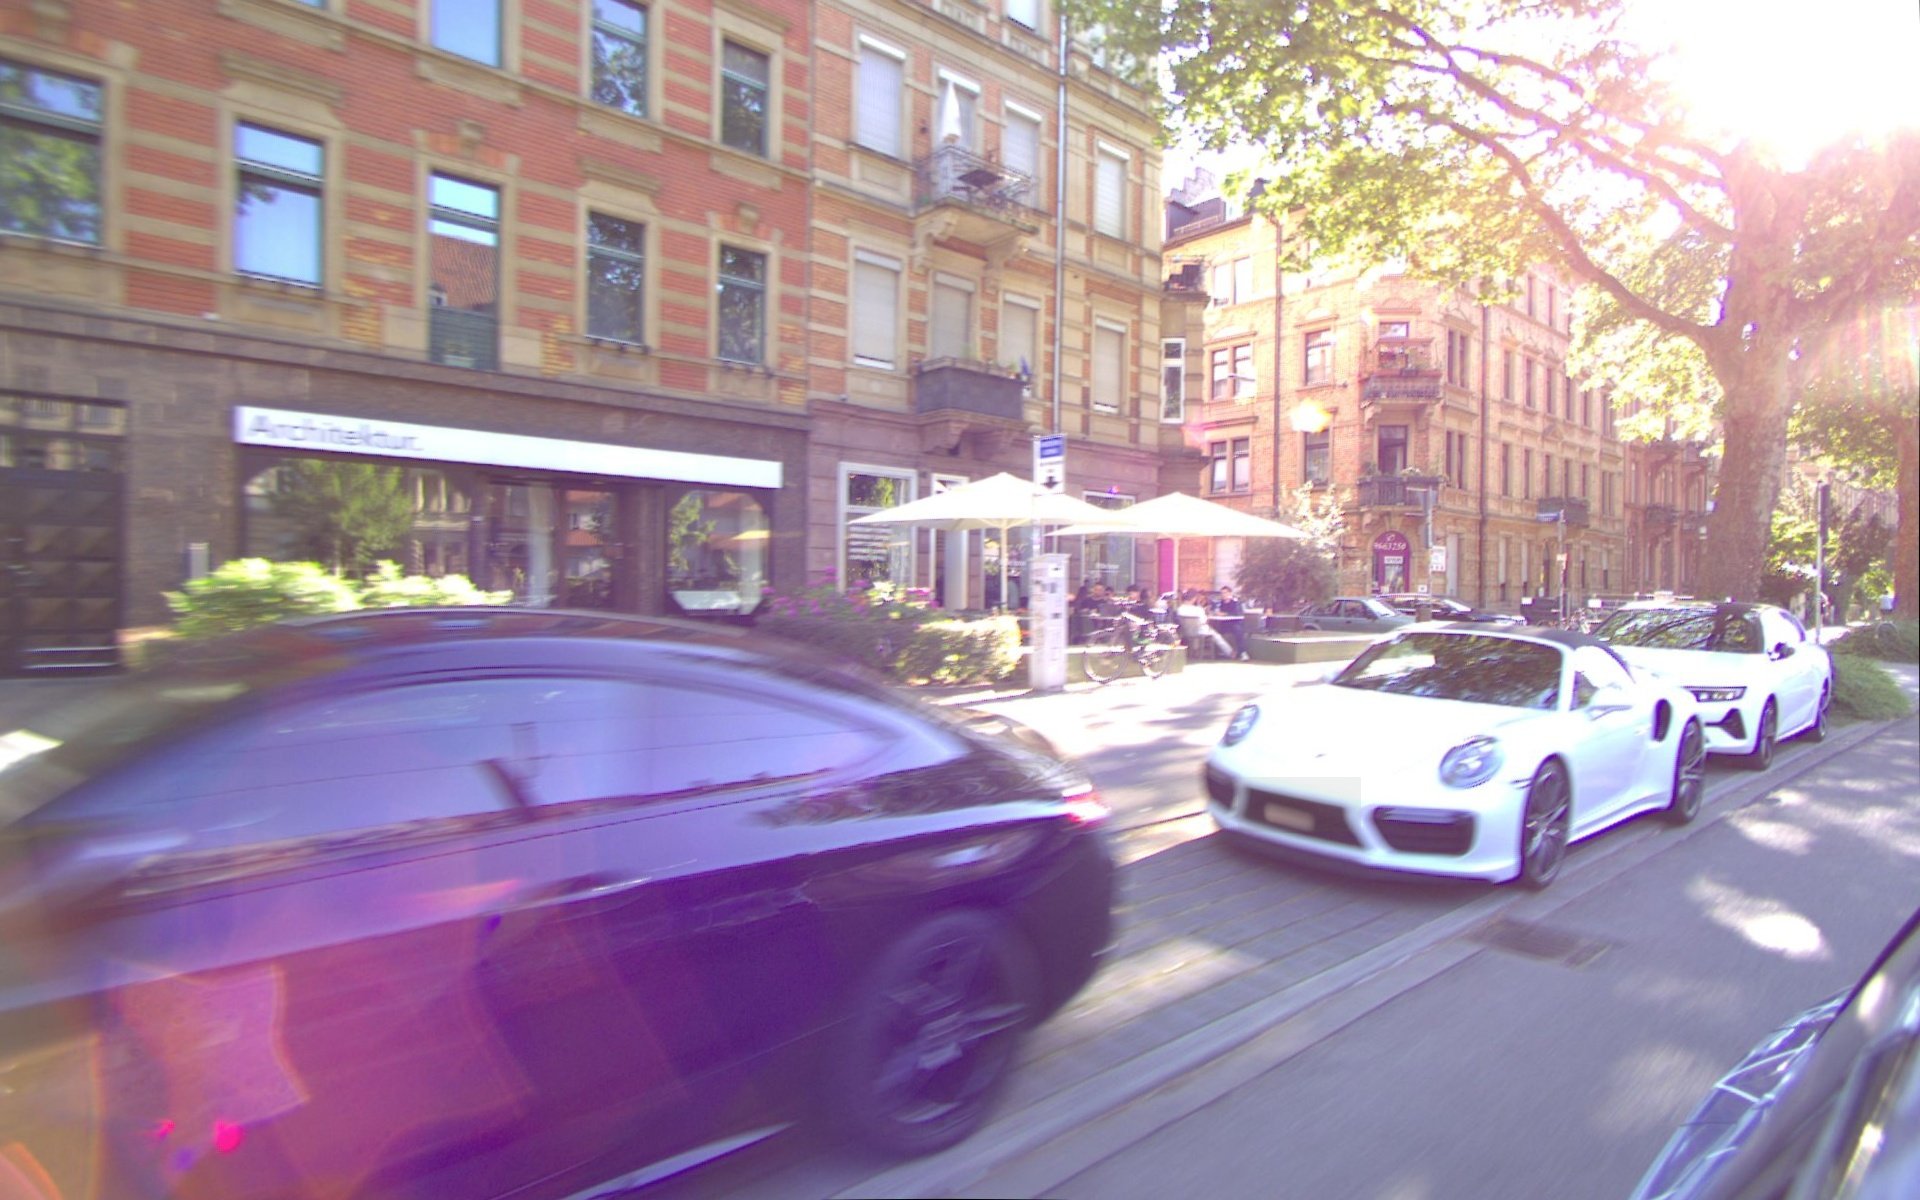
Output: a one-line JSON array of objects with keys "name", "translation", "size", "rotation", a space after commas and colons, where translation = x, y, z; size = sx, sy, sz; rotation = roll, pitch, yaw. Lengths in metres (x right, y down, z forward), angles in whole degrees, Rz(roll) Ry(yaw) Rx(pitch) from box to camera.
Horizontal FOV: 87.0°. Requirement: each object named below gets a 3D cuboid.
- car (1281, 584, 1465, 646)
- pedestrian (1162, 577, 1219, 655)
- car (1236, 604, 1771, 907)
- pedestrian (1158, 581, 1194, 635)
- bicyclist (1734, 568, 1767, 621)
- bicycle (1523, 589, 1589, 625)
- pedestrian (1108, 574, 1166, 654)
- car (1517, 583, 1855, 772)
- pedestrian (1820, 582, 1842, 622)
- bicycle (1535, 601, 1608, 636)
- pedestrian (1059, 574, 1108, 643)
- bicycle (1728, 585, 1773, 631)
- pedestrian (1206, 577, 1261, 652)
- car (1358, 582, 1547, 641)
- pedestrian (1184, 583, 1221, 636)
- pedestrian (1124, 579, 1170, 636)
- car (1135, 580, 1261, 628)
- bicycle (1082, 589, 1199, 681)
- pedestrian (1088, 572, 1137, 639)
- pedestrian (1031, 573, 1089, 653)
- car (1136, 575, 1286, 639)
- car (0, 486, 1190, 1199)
[{"name": "car", "translation": [10.483, 0.350, 25.894], "size": [1.713, 1.382, 3.992], "rotation": [2, 0, -43]}, {"name": "pedestrian", "translation": [3.999, 0.267, 17.549], "size": [0.651, 1.316, 0.714], "rotation": [0, 1, -41]}, {"name": "car", "translation": [3.747, 0.732, 6.689], "size": [3.930, 1.343, 1.833], "rotation": [0, 1, -41]}, {"name": "pedestrian", "translation": [4.728, 0.167, 22.133], "size": [0.517, 1.152, 0.557], "rotation": [0, 1, -41]}, {"name": "bicyclist", "translation": [21.243, -0.141, 27.205], "size": [0.633, 1.398, 0.543], "rotation": [2, -4, -42]}, {"name": "bicycle", "translation": [19.873, 0.214, 33.774], "size": [0.467, 1.168, 1.868], "rotation": [0, 1, -36]}, {"name": "pedestrian", "translation": [3.025, 0.225, 17.284], "size": [0.651, 1.316, 0.714], "rotation": [0, 1, -40]}, {"name": "car", "translation": [7.476, 0.593, 10.227], "size": [4.566, 1.496, 1.805], "rotation": [0, 1, -41]}, {"name": "pedestrian", "translation": [36.626, 0.071, 42.556], "size": [0.606, 1.648, 0.531], "rotation": [2, 1, -40]}, {"name": "bicycle", "translation": [17.192, 0.513, 28.456], "size": [1.687, 0.928, 0.594], "rotation": [1, 1, 39]}, {"name": "pedestrian", "translation": [2.421, 0.160, 19.863], "size": [0.702, 1.316, 0.662], "rotation": [0, 1, -41]}, {"name": "bicycle", "translation": [21.241, 0.204, 27.184], "size": [2.188, 1.193, 0.561], "rotation": [0, -3, -42]}, {"name": "pedestrian", "translation": [4.960, 0.253, 18.341], "size": [0.651, 1.316, 0.714], "rotation": [0, 1, -41]}, {"name": "car", "translation": [14.226, 0.265, 29.409], "size": [1.891, 1.567, 4.604], "rotation": [0, 1, -45]}, {"name": "pedestrian", "translation": [5.185, 0.198, 21.636], "size": [0.517, 1.116, 0.557], "rotation": [0, 1, -41]}, {"name": "pedestrian", "translation": [3.967, 0.149, 21.498], "size": [0.651, 1.186, 0.714], "rotation": [0, 1, -41]}, {"name": "car", "translation": [8.424, 0.101, 36.078], "size": [1.715, 1.567, 4.121], "rotation": [0, 1, -44]}, {"name": "bicycle", "translation": [2.485, 0.444, 13.809], "size": [1.863, 1.157, 0.476], "rotation": [0, 3, -41]}, {"name": "pedestrian", "translation": [3.066, 0.095, 20.363], "size": [0.651, 1.316, 0.714], "rotation": [0, 1, -41]}, {"name": "pedestrian", "translation": [1.686, 0.200, 17.082], "size": [0.651, 1.316, 0.714], "rotation": [0, 1, -39]}, {"name": "car", "translation": [7.203, 0.151, 29.327], "size": [1.859, 1.668, 3.907], "rotation": [0, 1, -38]}, {"name": "car", "translation": [-1.629, 0.594, 2.426], "size": [4.719, 1.556, 1.736], "rotation": [0, 1, -39]}]
